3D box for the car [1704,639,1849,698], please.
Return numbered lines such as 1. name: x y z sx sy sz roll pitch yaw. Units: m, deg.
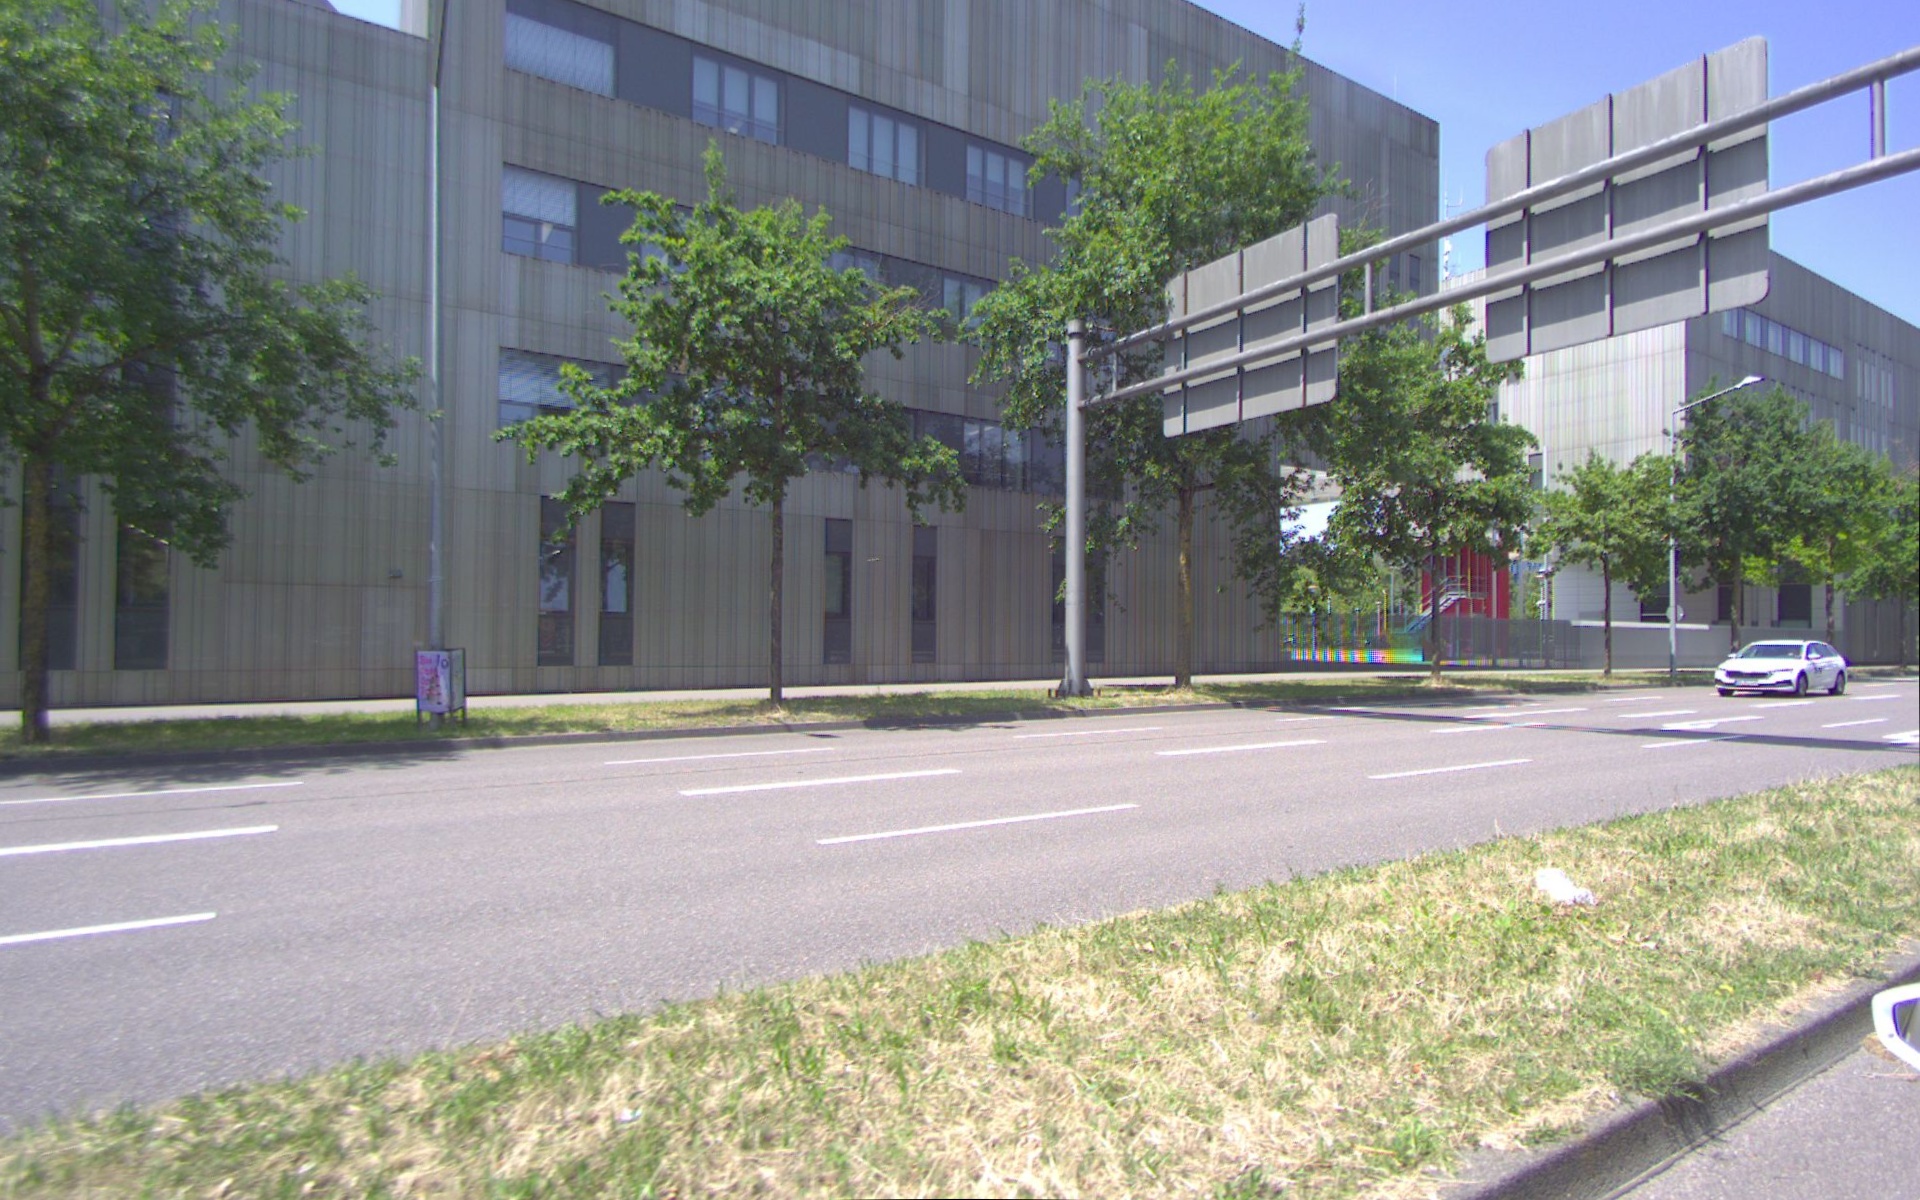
1. car: 21.788 1.774 26.767 4.314 1.446 1.799 2 -3 -34
